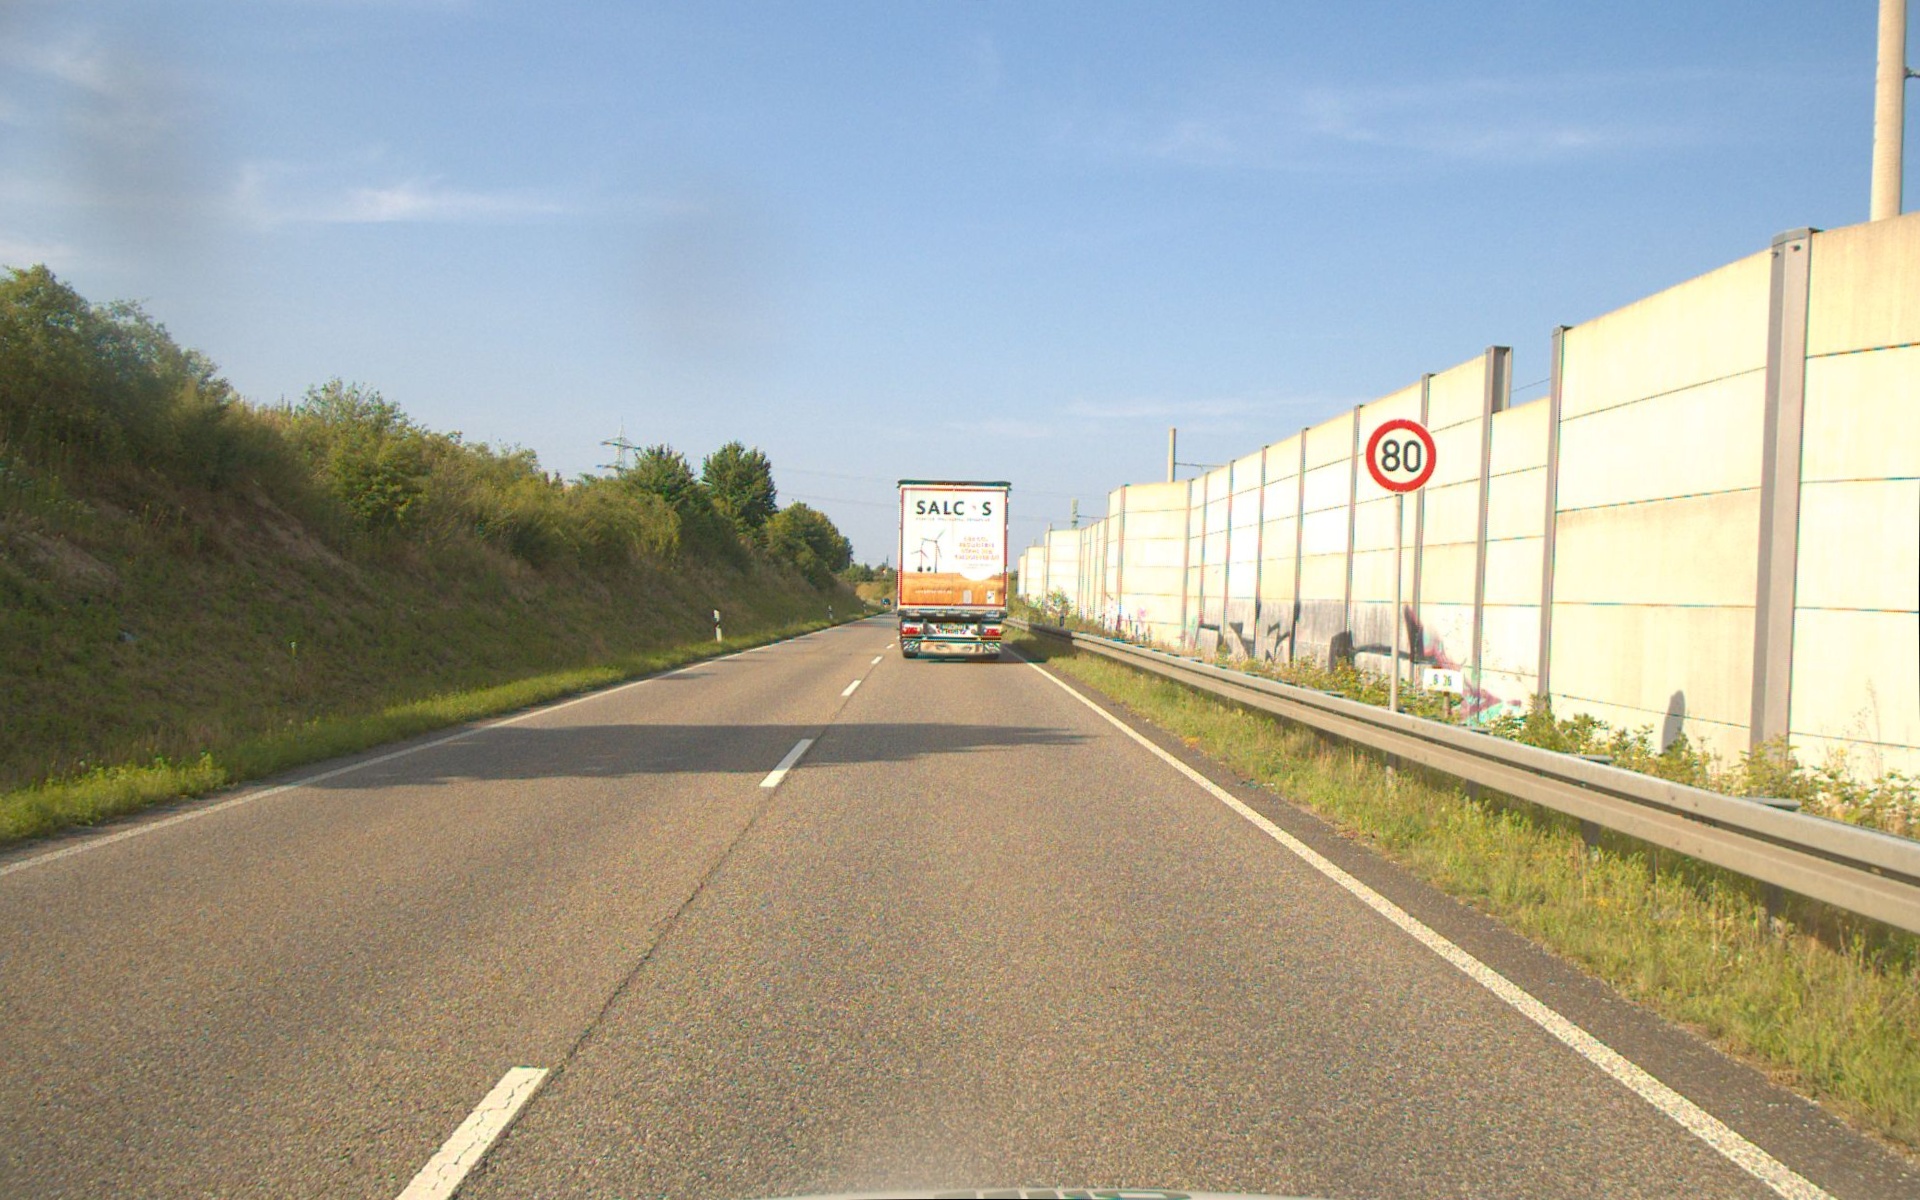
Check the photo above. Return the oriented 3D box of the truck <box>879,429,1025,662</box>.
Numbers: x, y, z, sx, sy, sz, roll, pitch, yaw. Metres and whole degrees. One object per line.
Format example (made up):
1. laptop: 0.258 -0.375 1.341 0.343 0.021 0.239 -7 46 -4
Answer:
1. truck: -0.443 -1.293 43.278 3.225 5.179 12.032 1 1 -3
